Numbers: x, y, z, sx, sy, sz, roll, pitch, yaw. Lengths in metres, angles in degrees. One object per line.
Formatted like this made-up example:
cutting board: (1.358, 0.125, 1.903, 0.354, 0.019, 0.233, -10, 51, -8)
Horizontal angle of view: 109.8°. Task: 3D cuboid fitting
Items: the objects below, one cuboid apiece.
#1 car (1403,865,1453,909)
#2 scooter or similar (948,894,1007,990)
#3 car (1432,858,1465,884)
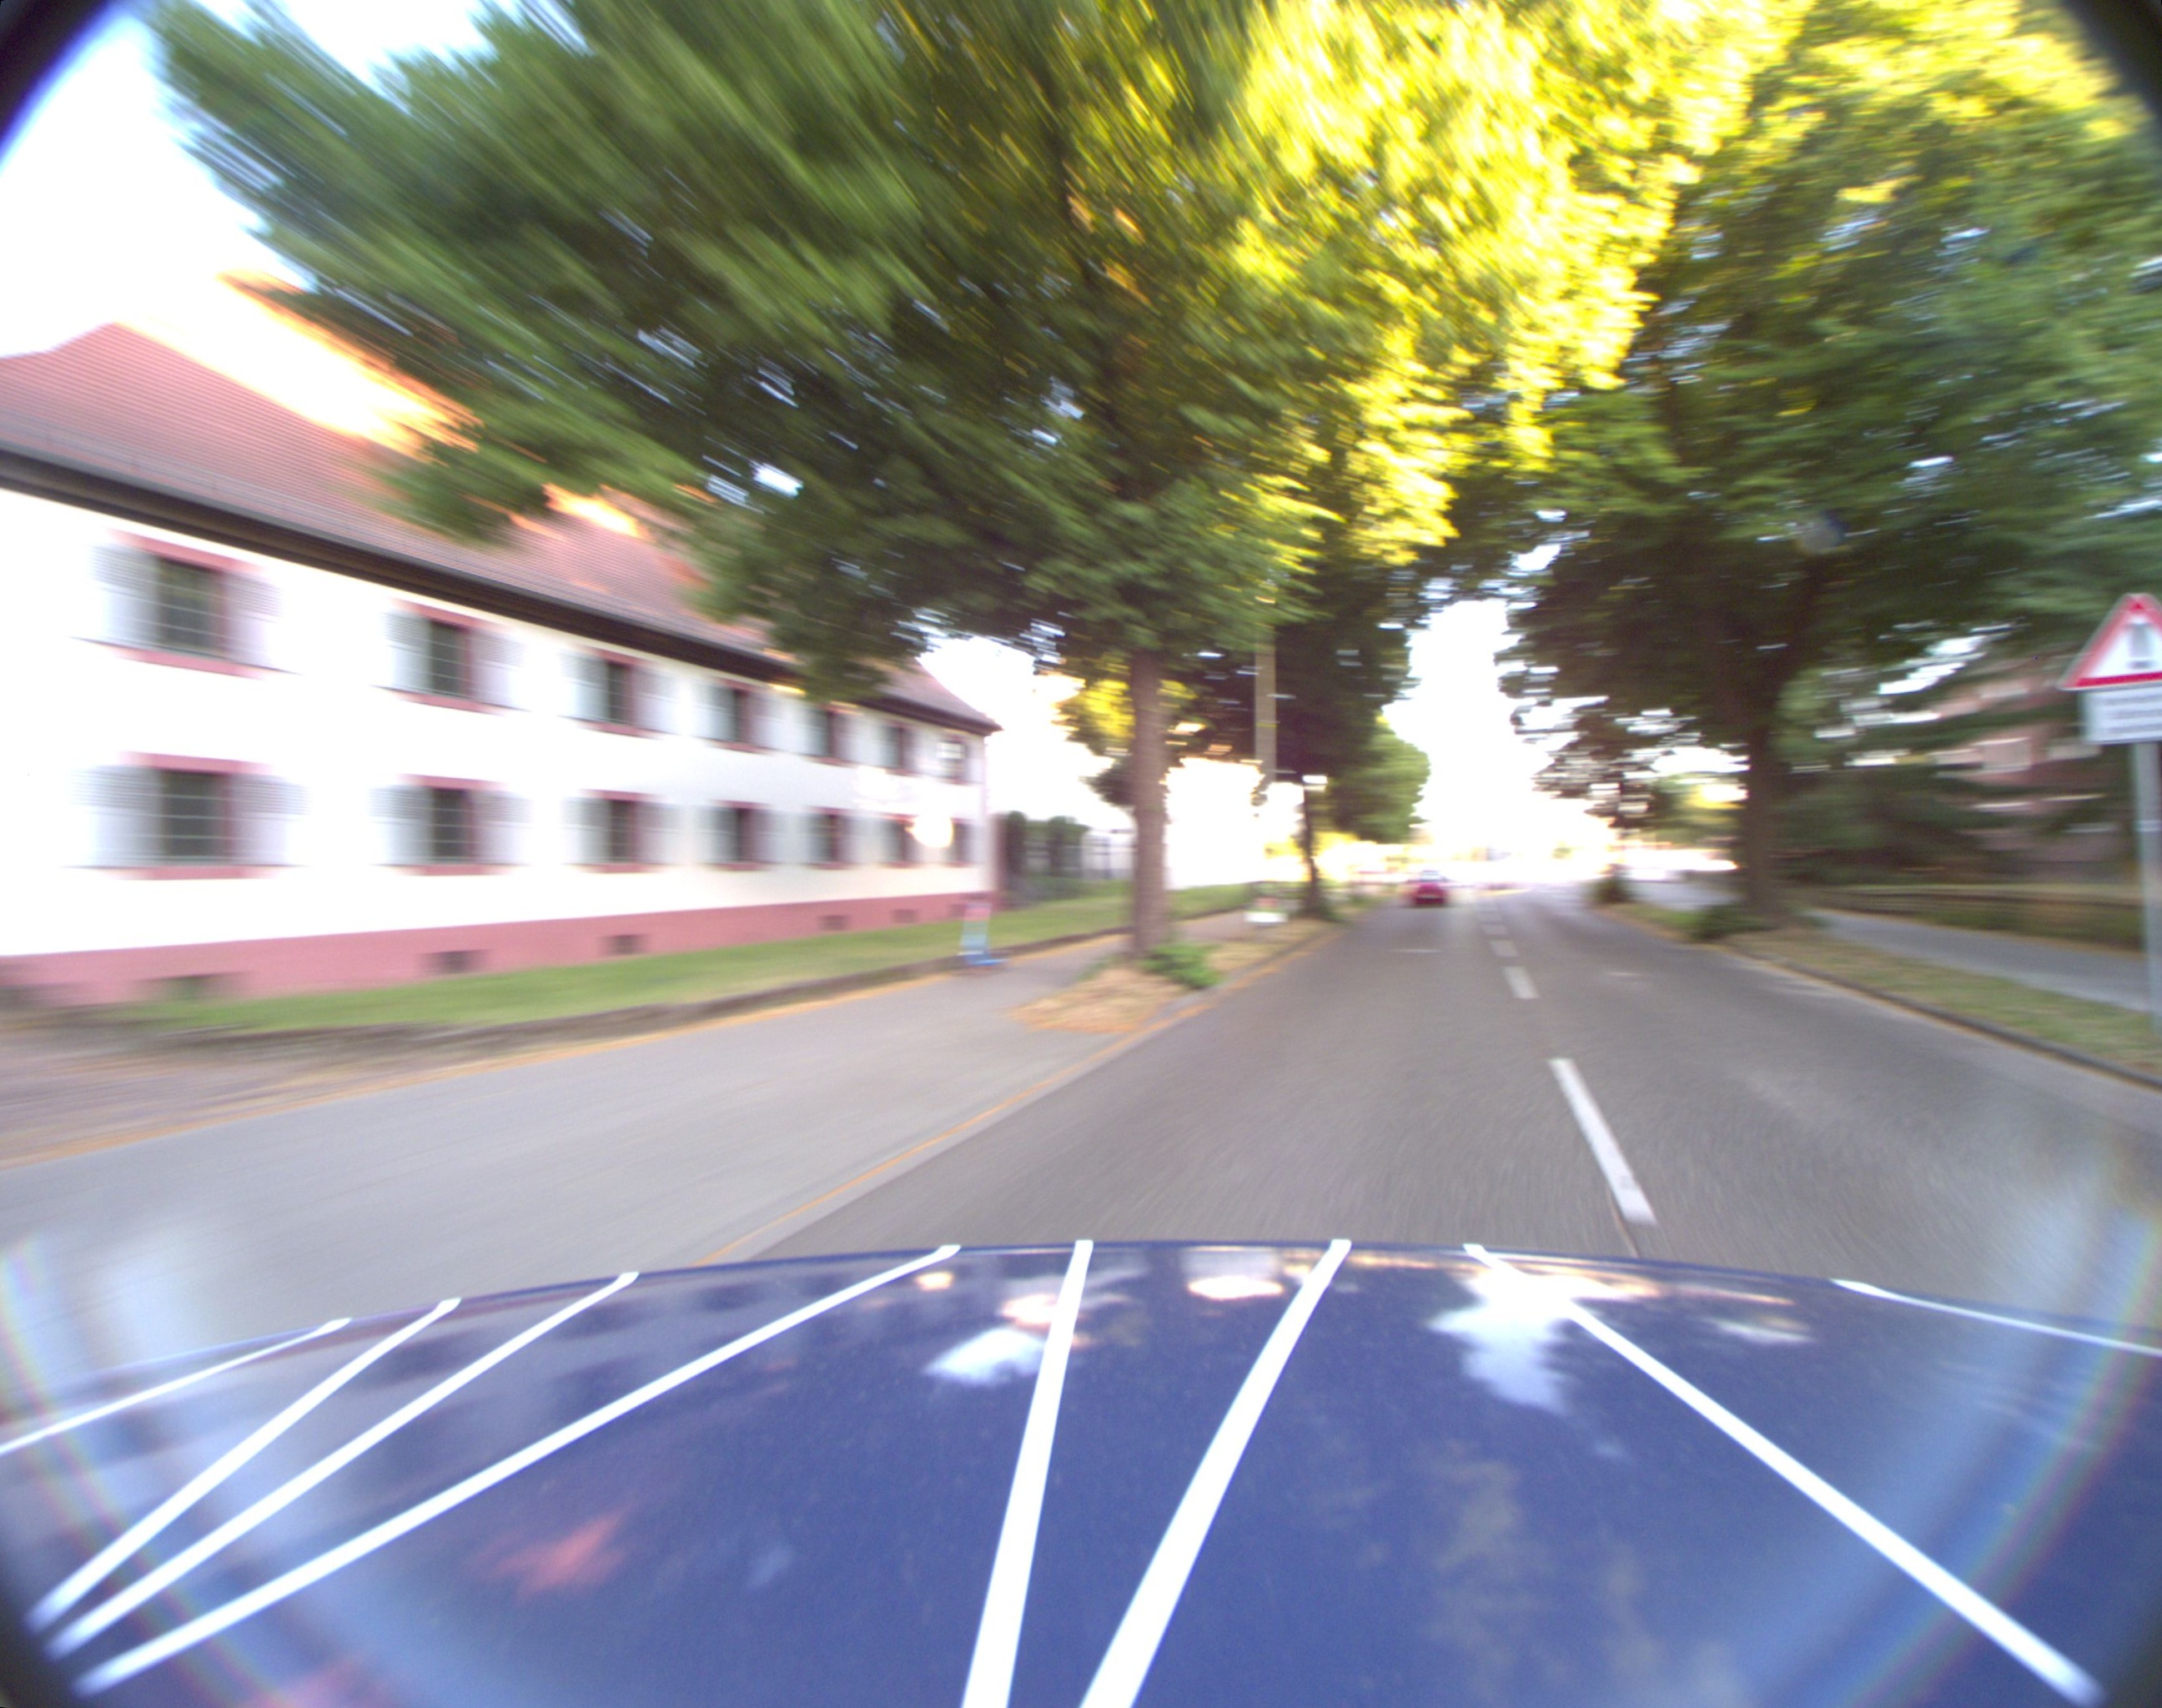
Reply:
car: (13.463, 1.227, 29.505, 1.616, 1.404, 4.417, -3, 0, 24)
scooter or similar: (-1.509, 1.259, 11.210, 0.239, 1.268, 1.269, -1, 0, 21)
car: (25.093, 1.159, 51.828, 1.787, 1.548, 4.417, -3, 0, 28)
